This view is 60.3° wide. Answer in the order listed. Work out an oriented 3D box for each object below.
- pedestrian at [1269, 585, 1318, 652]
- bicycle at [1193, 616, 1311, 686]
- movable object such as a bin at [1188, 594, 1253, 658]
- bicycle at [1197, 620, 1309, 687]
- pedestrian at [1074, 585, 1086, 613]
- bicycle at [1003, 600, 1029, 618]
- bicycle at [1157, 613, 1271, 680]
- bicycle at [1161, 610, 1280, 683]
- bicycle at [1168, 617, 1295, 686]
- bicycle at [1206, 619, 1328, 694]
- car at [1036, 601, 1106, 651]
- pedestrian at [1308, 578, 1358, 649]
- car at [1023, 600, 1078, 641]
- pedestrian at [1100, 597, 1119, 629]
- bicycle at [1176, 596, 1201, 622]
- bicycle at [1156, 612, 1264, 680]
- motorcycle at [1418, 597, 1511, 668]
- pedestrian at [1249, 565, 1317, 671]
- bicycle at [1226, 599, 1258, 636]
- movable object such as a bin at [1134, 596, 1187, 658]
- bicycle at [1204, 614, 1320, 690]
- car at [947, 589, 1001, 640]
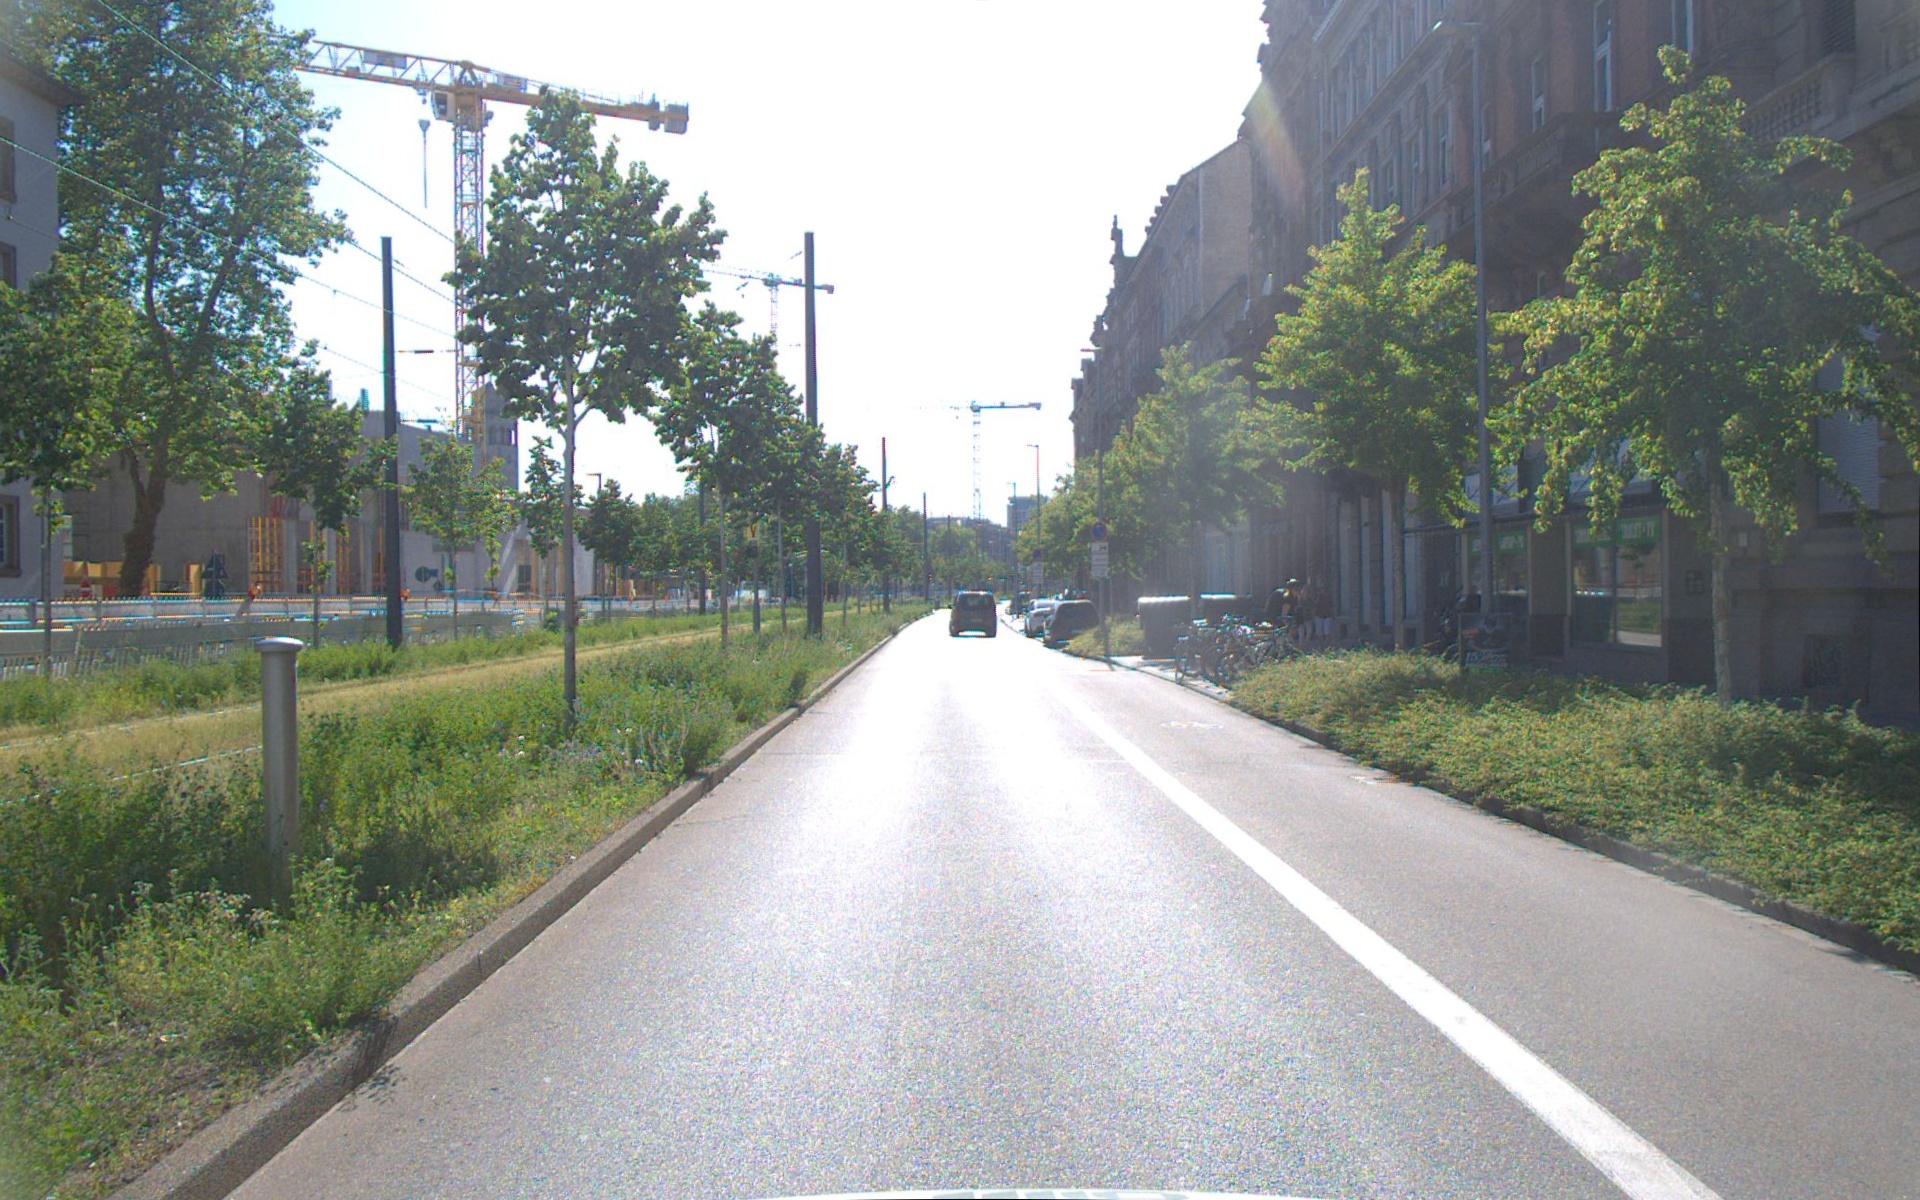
[{"bbox_3d":[8.155,0.440,40.485,0.931,1.594,1.080,-2,1,-1],"label":"pedestrian"},{"bbox_3d":[5.090,0.881,28.888,1.938,1.127,0.435,-2,-1,-4],"label":"bicycle"},{"bbox_3d":[6.650,0.662,42.333,1.345,1.521,1.749,-3,-1,0],"label":"movable object such as a bin"},{"bbox_3d":[5.051,0.911,28.544,1.780,1.074,0.571,-2,-1,-7],"label":"bicycle"},{"bbox_3d":[8.884,-0.078,122.056,0.801,2.049,1.046,0,-3,0],"label":"pedestrian"},{"bbox_3d":[4.233,0.672,125.078,1.843,1.255,0.499,-3,-1,-6],"label":"bicycle"},{"bbox_3d":[4.830,0.873,31.478,2.005,1.126,0.610,-4,0,-7],"label":"bicycle"},{"bbox_3d":[4.791,0.845,30.394,2.111,1.174,0.428,-4,0,-15],"label":"bicycle"},{"bbox_3d":[4.933,0.921,30.051,2.247,1.121,0.484,-3,0,-15],"label":"bicycle"},{"bbox_3d":[5.024,0.911,27.071,1.855,1.128,0.517,-2,-1,-6],"label":"bicycle"},{"bbox_3d":[3.654,0.850,54.996,1.731,1.502,4.446,-3,-1,-3],"label":"car"},{"bbox_3d":[9.129,0.324,40.476,0.951,1.667,0.992,-2,1,-1],"label":"pedestrian"},{"bbox_3d":[3.671,0.819,67.704,1.912,1.521,5.104,-2,0,0],"label":"car"},{"bbox_3d":[8.329,0.736,92.115,0.975,1.762,0.866,0,-1,-1],"label":"pedestrian"},{"bbox_3d":[9.879,0.378,71.550,0.706,1.109,2.198,-2,0,0],"label":"bicycle"},{"bbox_3d":[4.820,0.880,31.886,1.937,1.143,0.481,-4,1,-6],"label":"bicycle"},{"bbox_3d":[9.680,0.613,31.894,0.848,1.288,2.981,0,-1,-1],"label":"motorcycle"},{"bbox_3d":[5.670,0.311,29.090,0.882,1.766,0.849,-4,0,-2],"label":"pedestrian"},{"bbox_3d":[9.760,0.607,57.347,0.732,1.222,1.800,-2,-1,-1],"label":"bicycle"},{"bbox_3d":[5.088,0.665,42.137,1.244,1.488,1.645,1,2,4],"label":"movable object such as a bin"},{"bbox_3d":[4.999,0.855,27.425,1.829,1.199,0.373,-1,-1,-4],"label":"bicycle"},{"bbox_3d":[0.549,0.612,68.598,1.954,2.049,3.997,0,-1,-3],"label":"car"}]
